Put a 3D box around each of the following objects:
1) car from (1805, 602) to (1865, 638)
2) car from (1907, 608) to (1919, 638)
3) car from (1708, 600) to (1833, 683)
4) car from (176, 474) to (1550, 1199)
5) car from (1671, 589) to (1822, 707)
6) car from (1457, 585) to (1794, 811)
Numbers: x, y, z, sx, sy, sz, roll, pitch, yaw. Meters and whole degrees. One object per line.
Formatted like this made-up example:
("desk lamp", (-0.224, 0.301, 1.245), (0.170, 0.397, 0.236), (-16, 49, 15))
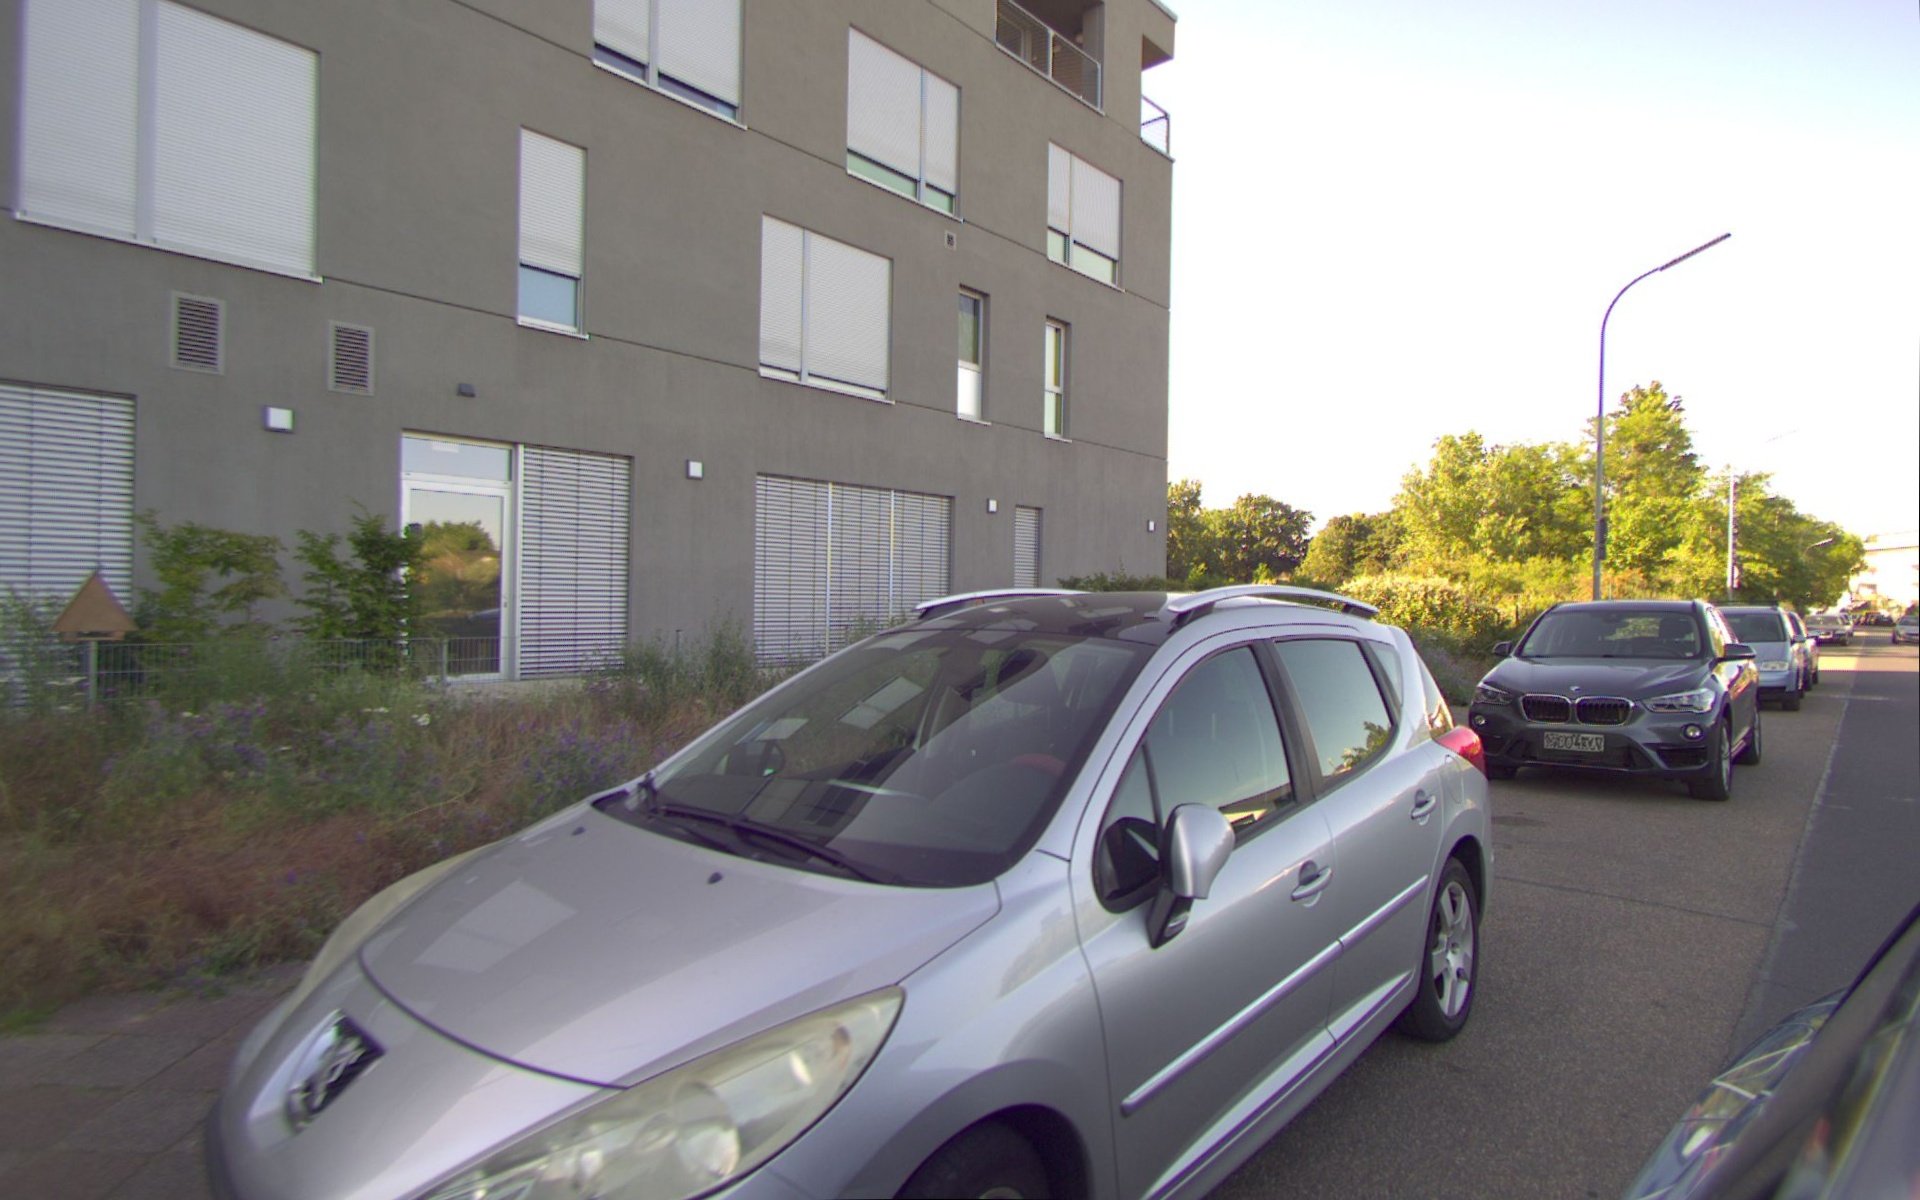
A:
("car", (39.836, 0.863, 46.046), (1.868, 1.545, 4.089), (1, 0, 43))
("car", (48.539, 1.141, 50.598), (1.674, 1.467, 3.938), (1, 0, 42))
("car", (16.487, 0.803, 20.543), (1.706, 1.546, 3.044), (-2, -2, 43))
("car", (0.299, 0.671, 3.110), (1.706, 1.546, 4.089), (-2, -2, 43))
("car", (13.262, 0.734, 16.961), (1.705, 1.727, 4.284), (-2, -2, 41))
("car", (6.393, 0.711, 9.454), (1.745, 1.587, 4.726), (-1, -1, 44))
